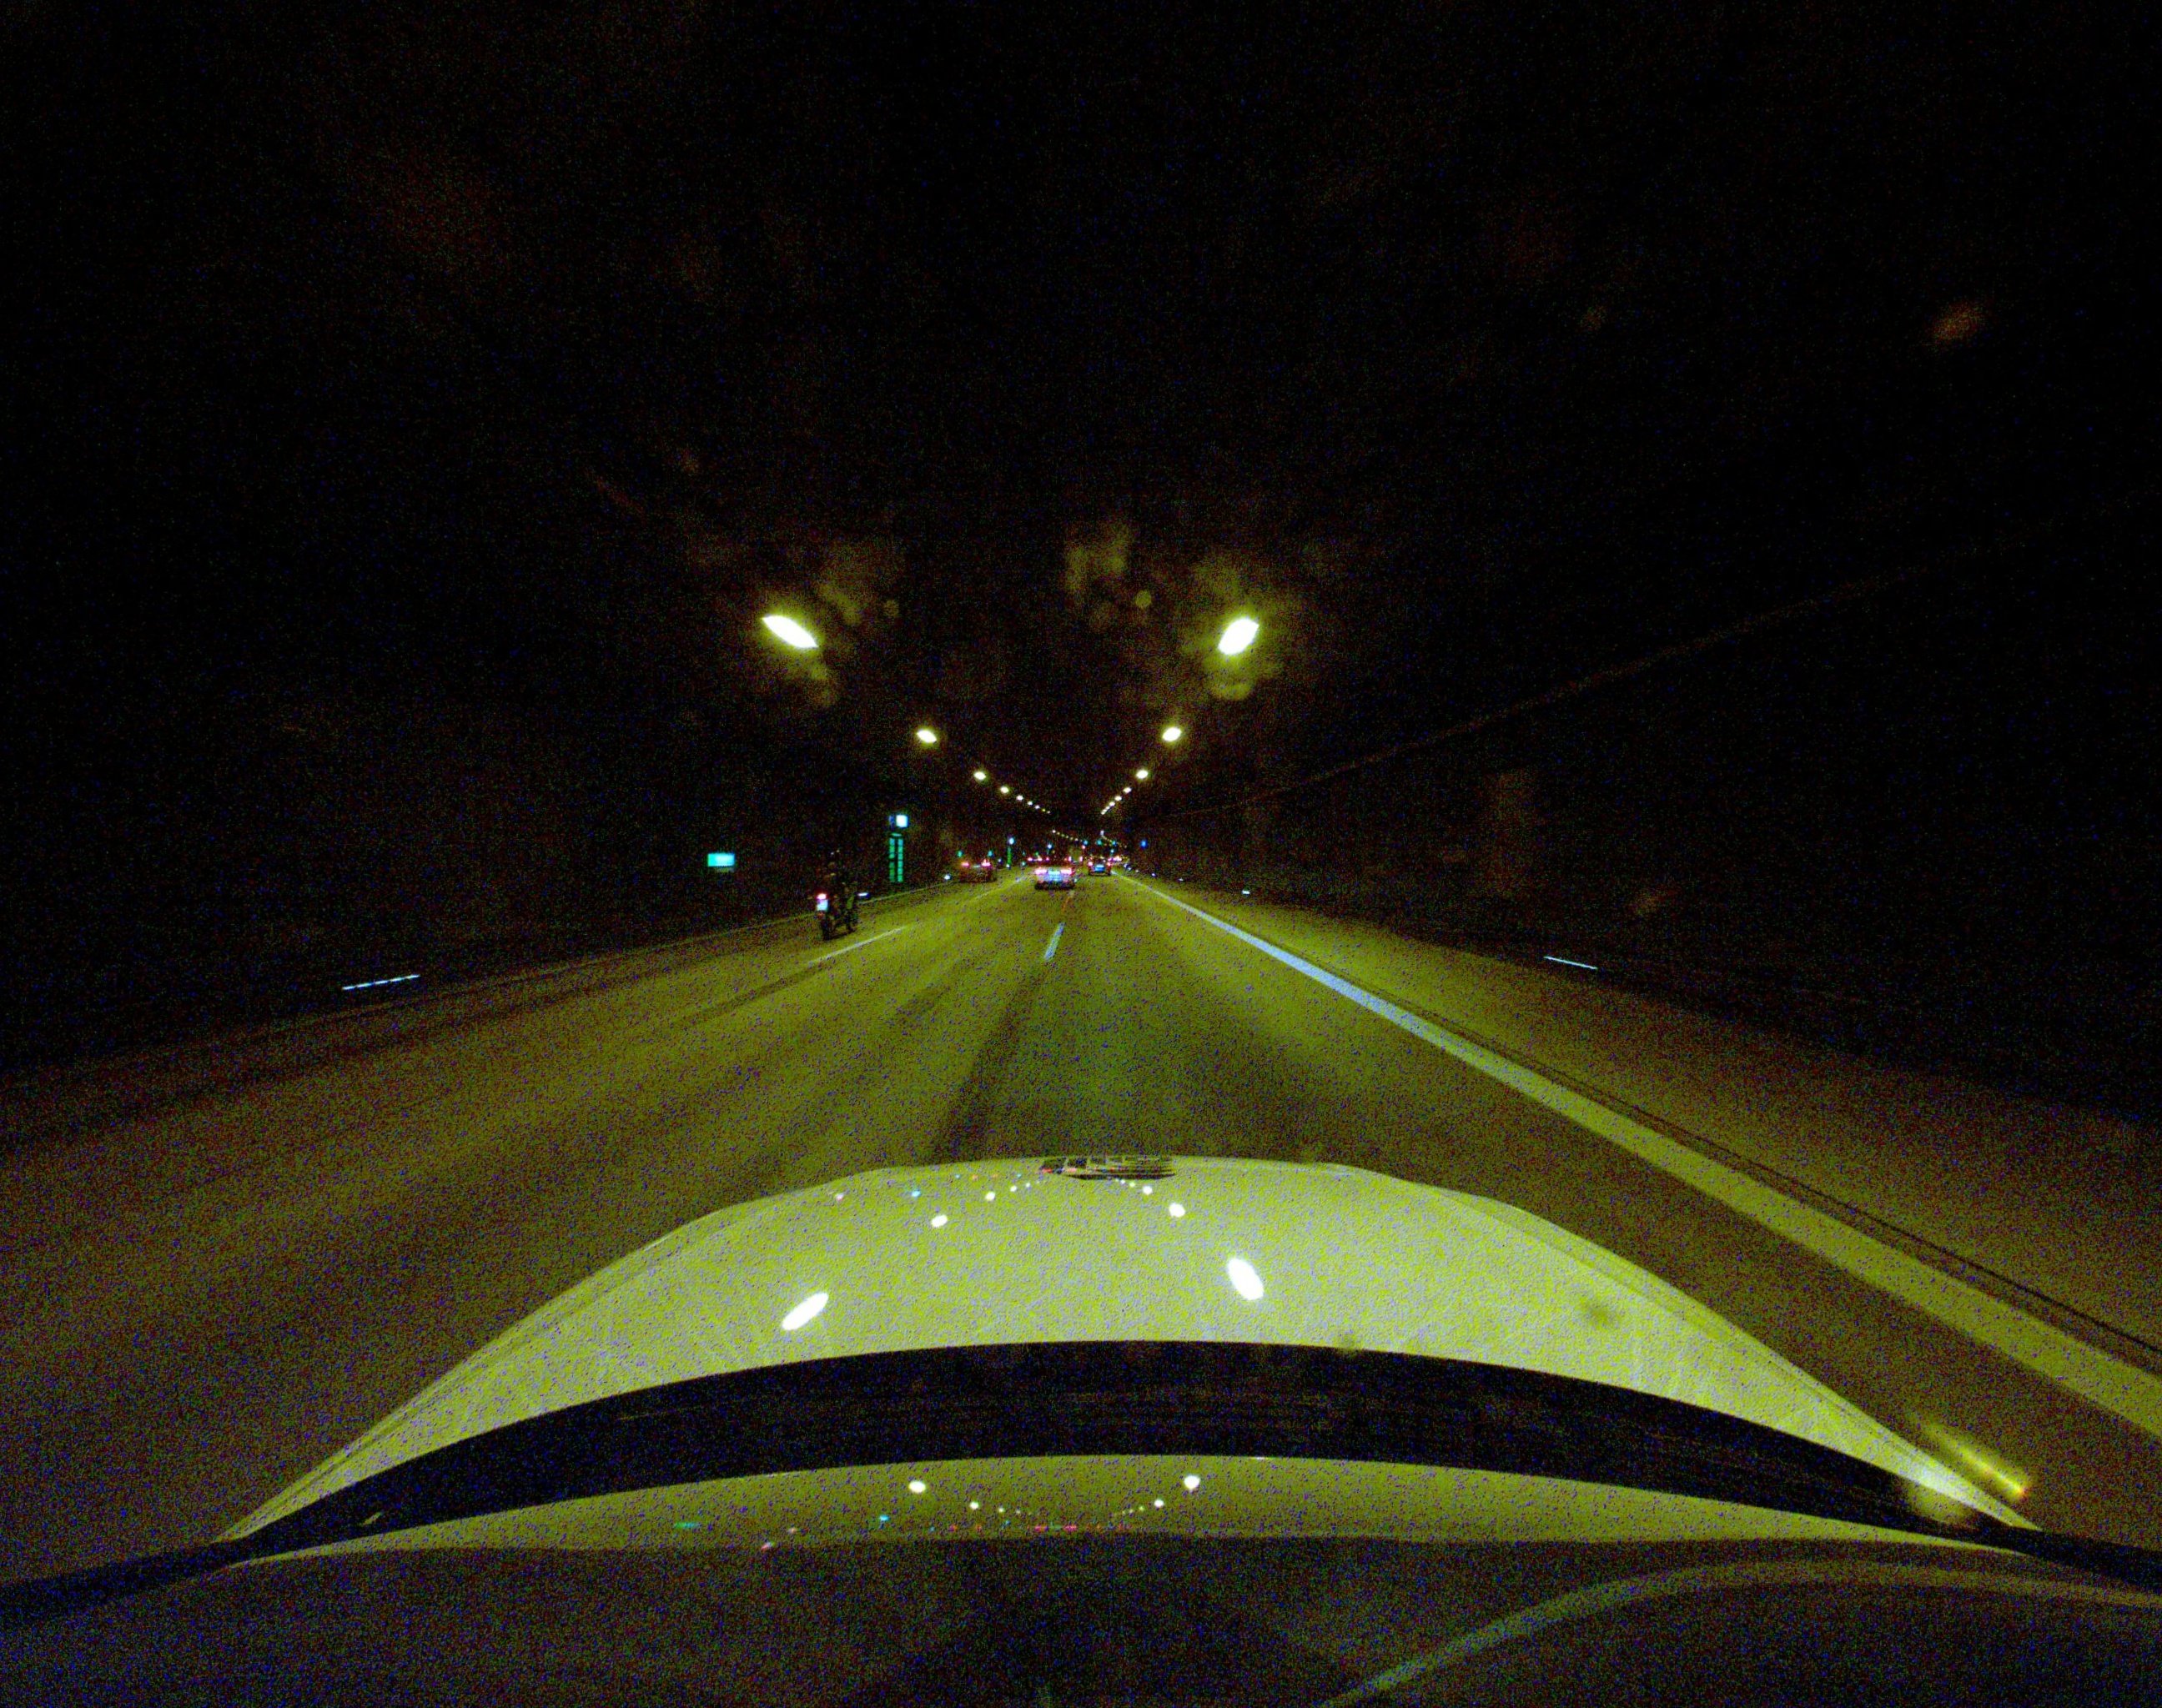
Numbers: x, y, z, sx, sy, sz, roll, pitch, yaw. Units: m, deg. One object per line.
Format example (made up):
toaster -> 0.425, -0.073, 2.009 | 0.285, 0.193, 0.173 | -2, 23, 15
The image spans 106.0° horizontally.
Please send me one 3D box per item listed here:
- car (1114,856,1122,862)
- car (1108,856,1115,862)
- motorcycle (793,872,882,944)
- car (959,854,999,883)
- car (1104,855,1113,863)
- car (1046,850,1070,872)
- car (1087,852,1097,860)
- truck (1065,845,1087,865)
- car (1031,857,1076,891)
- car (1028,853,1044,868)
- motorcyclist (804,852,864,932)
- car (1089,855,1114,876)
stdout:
car -> 9.795, 1.329, 214.770 | 1.836, 1.551, 4.004 | 0, 0, 4
car -> 8.348, 1.430, 220.652 | 1.826, 1.691, 4.003 | 0, 0, 3
motorcycle -> -4.754, 1.012, 16.143 | 0.842, 1.246, 2.606 | -2, 0, 2
car -> -5.836, 0.797, 47.083 | 1.779, 1.598, 3.801 | -1, 0, 0
car -> 6.142, 1.018, 179.080 | 1.851, 1.666, 4.003 | 0, 0, 3
car -> -2.143, 0.684, 77.871 | 1.986, 1.972, 4.001 | -2, -1, 1
car -> 2.531, 0.536, 187.917 | 1.986, 1.754, 4.002 | -1, -1, 2
truck -> -0.727, 0.104, 130.496 | 3.071, 3.113, 10.035 | -1, 1, 2
car -> -1.228, 0.896, 38.374 | 1.987, 1.483, 3.999 | -1, 0, 0
car -> -5.512, 0.806, 99.296 | 1.796, 1.684, 3.996 | -2, -1, -2
motorcyclist -> -4.780, 0.713, 15.800 | 0.835, 1.477, 0.822 | -2, 0, 3
car -> 1.638, 0.878, 64.637 | 1.833, 1.602, 4.001 | -1, -1, 2
